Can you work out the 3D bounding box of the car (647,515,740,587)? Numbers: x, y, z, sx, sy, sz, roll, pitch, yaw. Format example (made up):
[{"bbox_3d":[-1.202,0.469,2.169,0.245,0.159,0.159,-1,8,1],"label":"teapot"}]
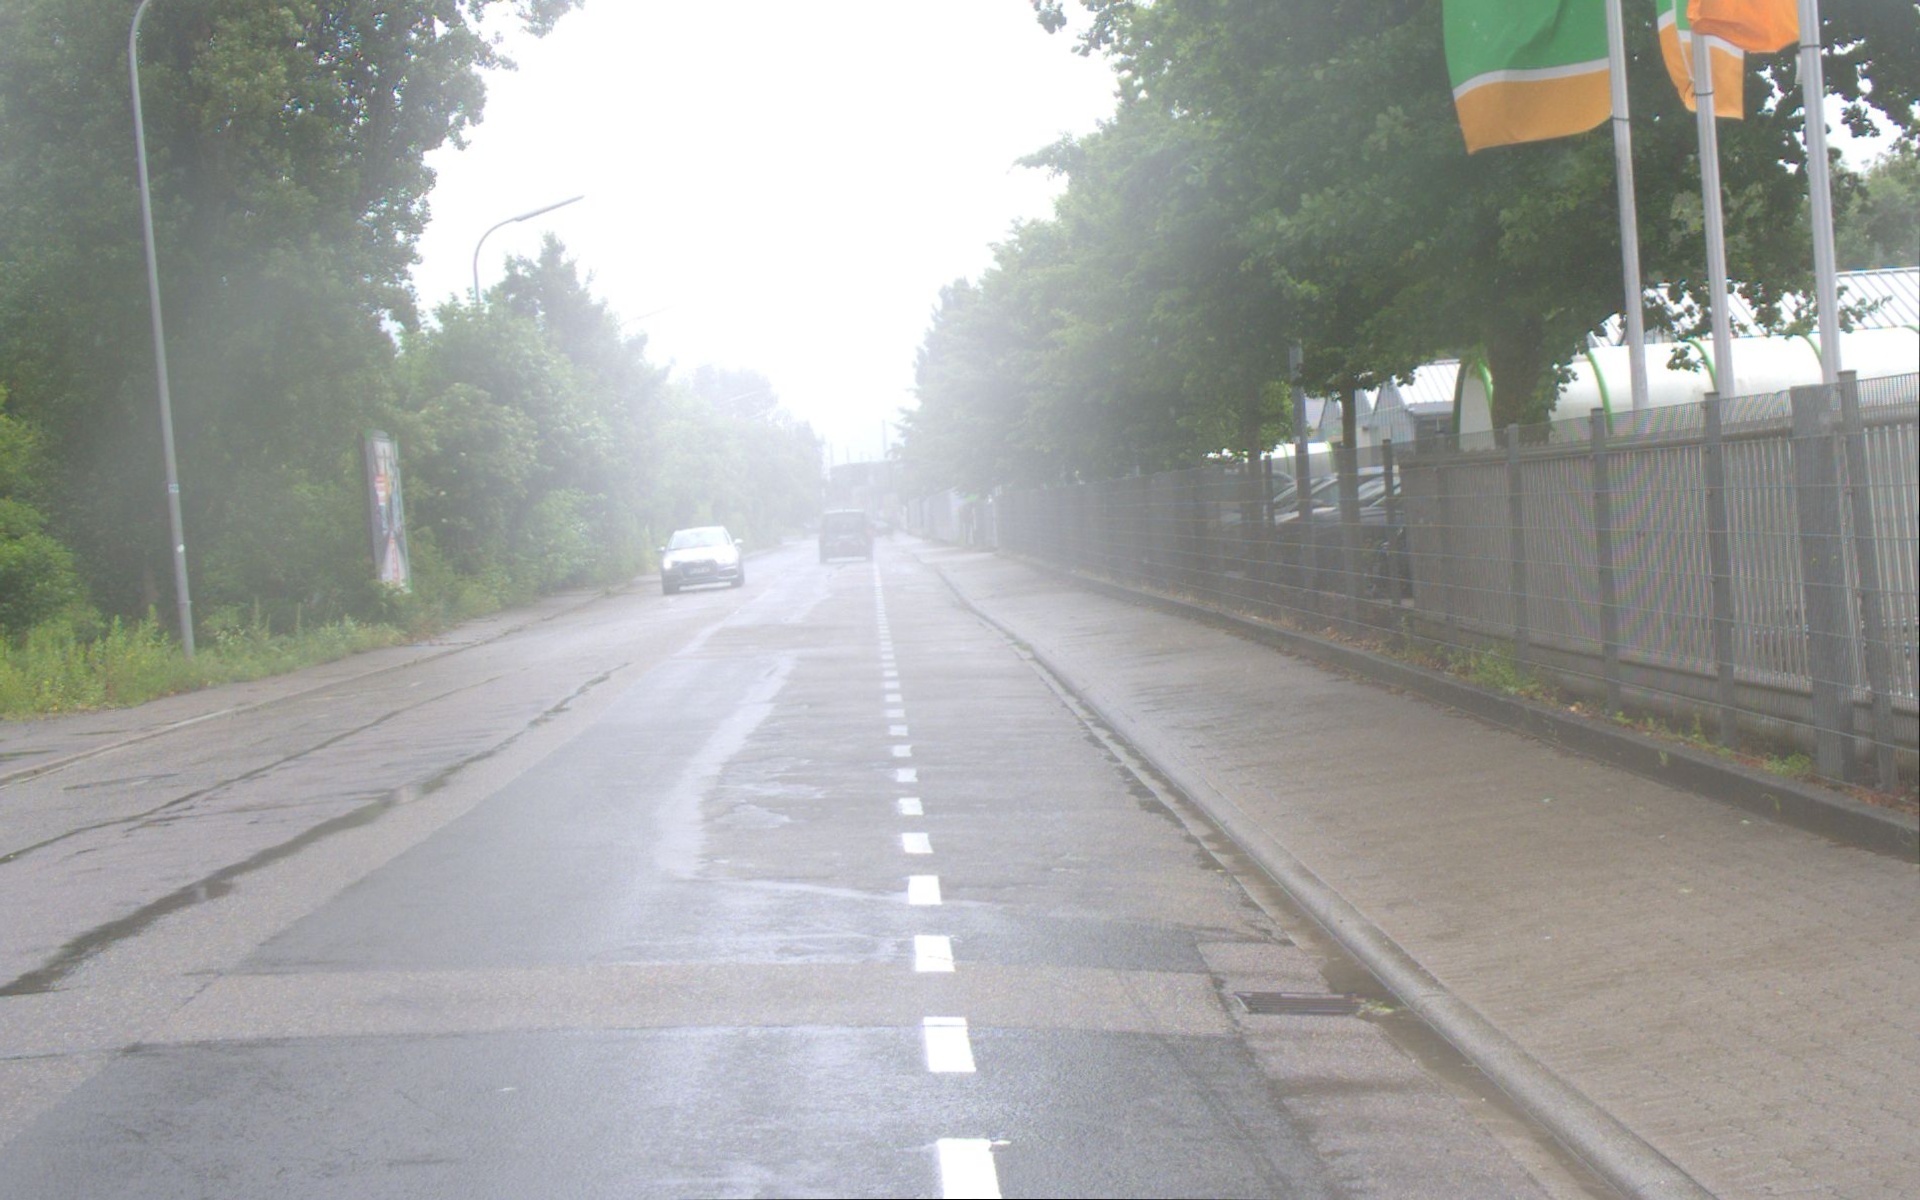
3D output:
[{"bbox_3d":[-6.200,-1.172,80.323,1.733,1.445,4.381,-6,1,0],"label":"car"}]

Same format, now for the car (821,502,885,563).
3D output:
[{"bbox_3d":[-3.665,-2.281,117.565,1.993,1.904,4.201,-4,1,-2],"label":"car"}]

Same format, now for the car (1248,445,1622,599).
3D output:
[{"bbox_3d":[5.925,-0.977,43.112,4.207,1.613,1.824,-4,2,-8],"label":"car"}]
